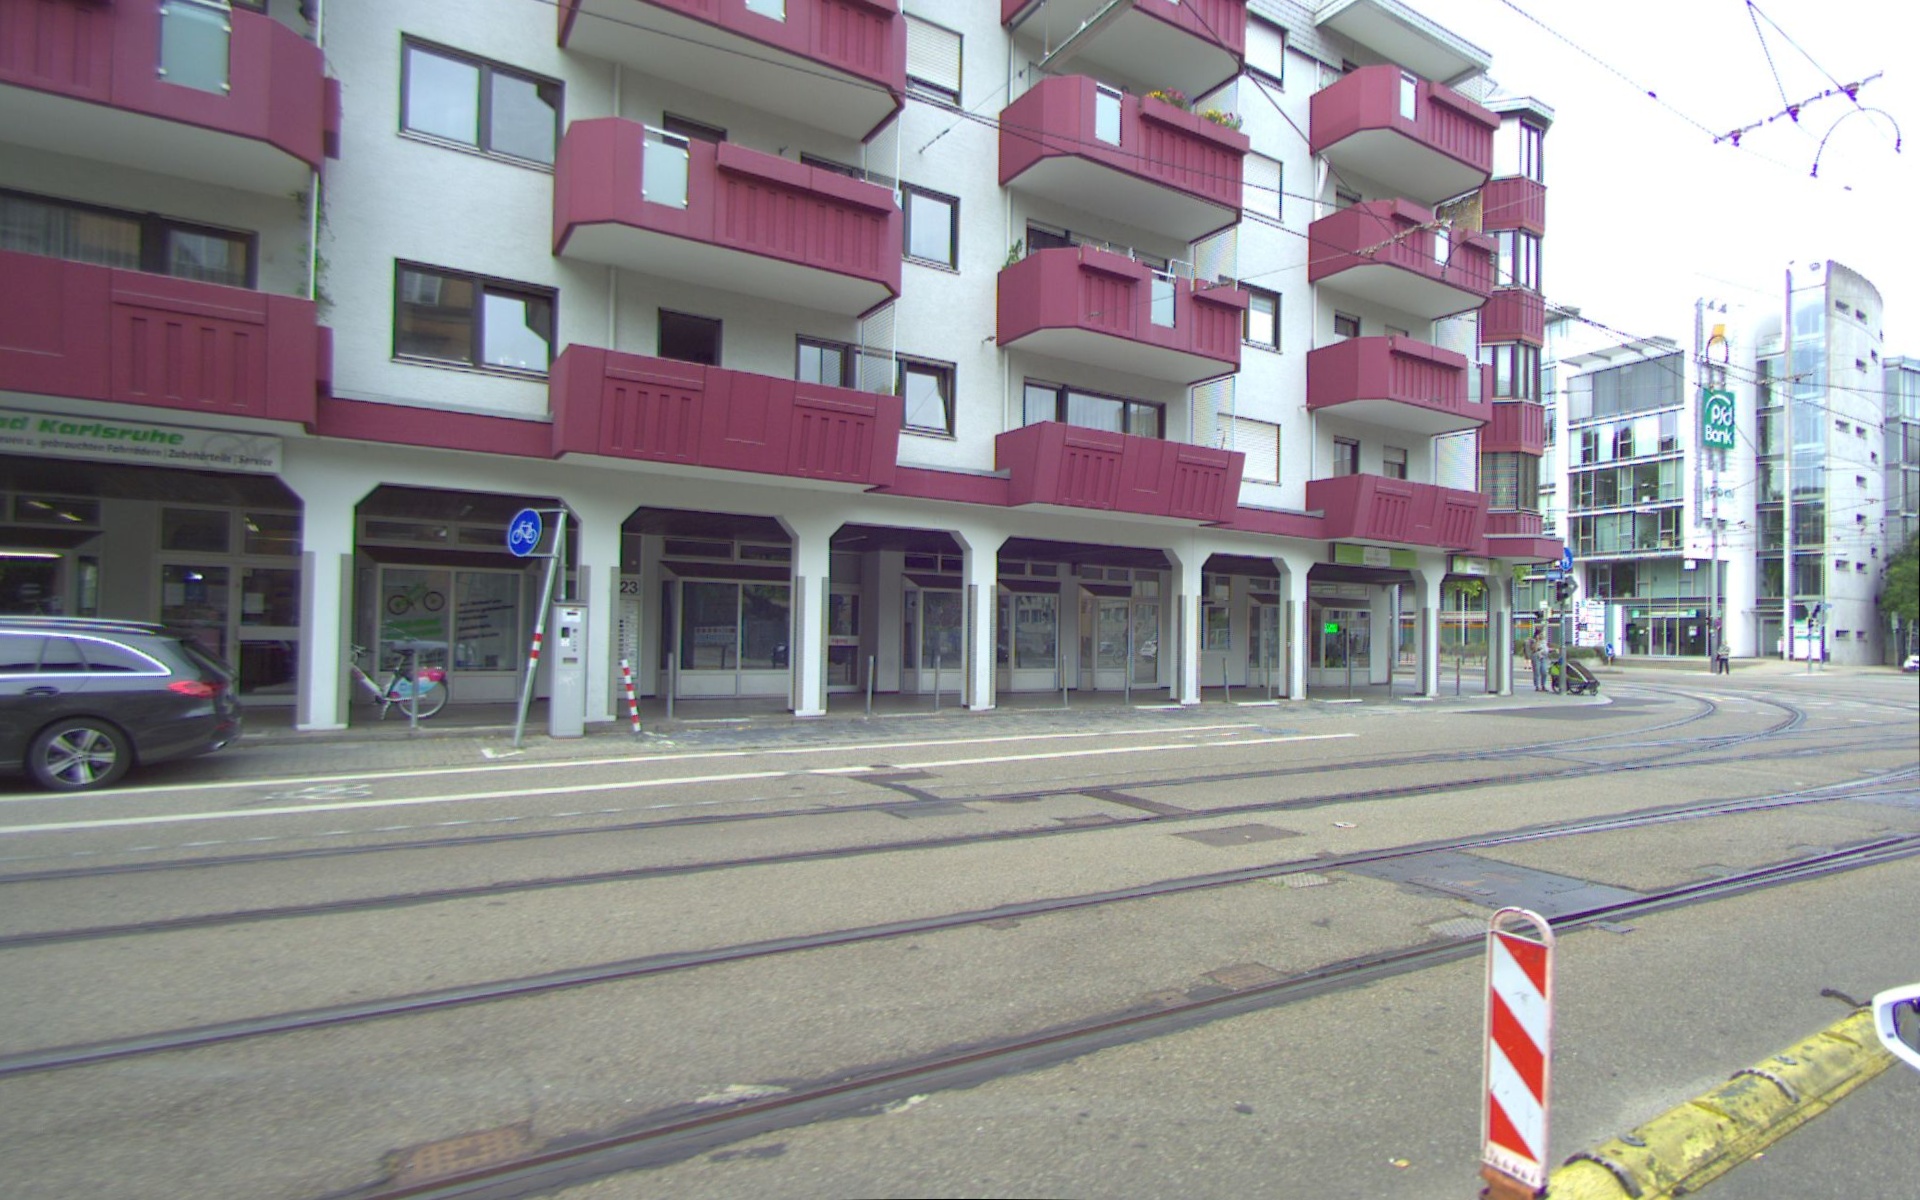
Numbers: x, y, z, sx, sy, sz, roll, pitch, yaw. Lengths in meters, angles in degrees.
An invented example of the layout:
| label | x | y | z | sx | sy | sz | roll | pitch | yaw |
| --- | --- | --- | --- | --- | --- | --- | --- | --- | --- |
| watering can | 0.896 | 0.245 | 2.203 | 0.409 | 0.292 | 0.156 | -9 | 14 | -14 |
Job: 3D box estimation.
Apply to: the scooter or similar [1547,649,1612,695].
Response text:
| label | x | y | z | sx | sy | sz | roll | pitch | yaw |
| --- | --- | --- | --- | --- | --- | --- | --- | --- | --- |
| scooter or similar | 16.592 | 1.907 | 26.915 | 0.936 | 1.143 | 1.189 | 2 | -1 | -32 |

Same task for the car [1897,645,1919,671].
| label | x | y | z | sx | sy | sz | roll | pitch | yaw |
| --- | --- | --- | --- | --- | --- | --- | --- | --- | --- |
| car | 60.019 | 3.603 | 62.000 | 4.160 | 1.577 | 1.824 | 2 | 0 | -26 |

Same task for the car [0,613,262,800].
| label | x | y | z | sx | sy | sz | roll | pitch | yaw |
| --- | --- | --- | --- | --- | --- | --- | --- | --- | --- |
| car | -9.004 | 0.878 | 8.746 | 4.645 | 1.499 | 1.745 | 2 | 0 | -31 |

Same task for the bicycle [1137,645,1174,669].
| label | x | y | z | sx | sy | sz | roll | pitch | yaw |
| --- | --- | --- | --- | --- | --- | --- | --- | --- | --- |
| bicycle | 8.938 | 2.611 | 45.925 | 1.710 | 1.031 | 0.475 | 5 | -4 | -28 |

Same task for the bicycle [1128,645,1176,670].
| label | x | y | z | sx | sy | sz | roll | pitch | yaw |
| --- | --- | --- | --- | --- | --- | --- | --- | --- | --- |
| bicycle | 8.911 | 2.657 | 46.569 | 2.152 | 1.031 | 0.624 | 5 | -3 | -24 |

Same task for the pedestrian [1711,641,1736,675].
| label | x | y | z | sx | sy | sz | roll | pitch | yaw |
| --- | --- | --- | --- | --- | --- | --- | --- | --- | --- |
| pedestrian | 42.412 | 3.205 | 55.806 | 0.753 | 1.889 | 0.833 | 1 | -2 | -17 |

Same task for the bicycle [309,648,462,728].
| label | x | y | z | sx | sy | sz | roll | pitch | yaw |
| --- | --- | --- | --- | --- | --- | --- | --- | --- | --- |
| bicycle | -7.387 | 1.108 | 12.947 | 1.636 | 0.966 | 0.560 | 2 | -2 | -38 |

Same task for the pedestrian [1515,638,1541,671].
| label | x | y | z | sx | sy | sz | roll | pitch | yaw |
| --- | --- | --- | --- | --- | --- | --- | --- | --- | --- |
| pedestrian | 29.104 | 2.794 | 51.481 | 0.753 | 1.693 | 0.935 | 1 | -2 | -17 |

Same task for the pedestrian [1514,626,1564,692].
| label | x | y | z | sx | sy | sz | roll | pitch | yaw |
| --- | --- | --- | --- | --- | --- | --- | --- | --- | --- |
| pedestrian | 16.019 | 1.615 | 27.815 | 0.803 | 1.766 | 0.942 | 2 | -2 | -33 |

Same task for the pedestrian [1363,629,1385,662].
| label | x | y | z | sx | sy | sz | roll | pitch | yaw |
| --- | --- | --- | --- | --- | --- | --- | --- | --- | --- |
| pedestrian | 24.461 | 2.686 | 59.352 | 0.831 | 1.880 | 0.838 | 2 | -2 | -31 |
